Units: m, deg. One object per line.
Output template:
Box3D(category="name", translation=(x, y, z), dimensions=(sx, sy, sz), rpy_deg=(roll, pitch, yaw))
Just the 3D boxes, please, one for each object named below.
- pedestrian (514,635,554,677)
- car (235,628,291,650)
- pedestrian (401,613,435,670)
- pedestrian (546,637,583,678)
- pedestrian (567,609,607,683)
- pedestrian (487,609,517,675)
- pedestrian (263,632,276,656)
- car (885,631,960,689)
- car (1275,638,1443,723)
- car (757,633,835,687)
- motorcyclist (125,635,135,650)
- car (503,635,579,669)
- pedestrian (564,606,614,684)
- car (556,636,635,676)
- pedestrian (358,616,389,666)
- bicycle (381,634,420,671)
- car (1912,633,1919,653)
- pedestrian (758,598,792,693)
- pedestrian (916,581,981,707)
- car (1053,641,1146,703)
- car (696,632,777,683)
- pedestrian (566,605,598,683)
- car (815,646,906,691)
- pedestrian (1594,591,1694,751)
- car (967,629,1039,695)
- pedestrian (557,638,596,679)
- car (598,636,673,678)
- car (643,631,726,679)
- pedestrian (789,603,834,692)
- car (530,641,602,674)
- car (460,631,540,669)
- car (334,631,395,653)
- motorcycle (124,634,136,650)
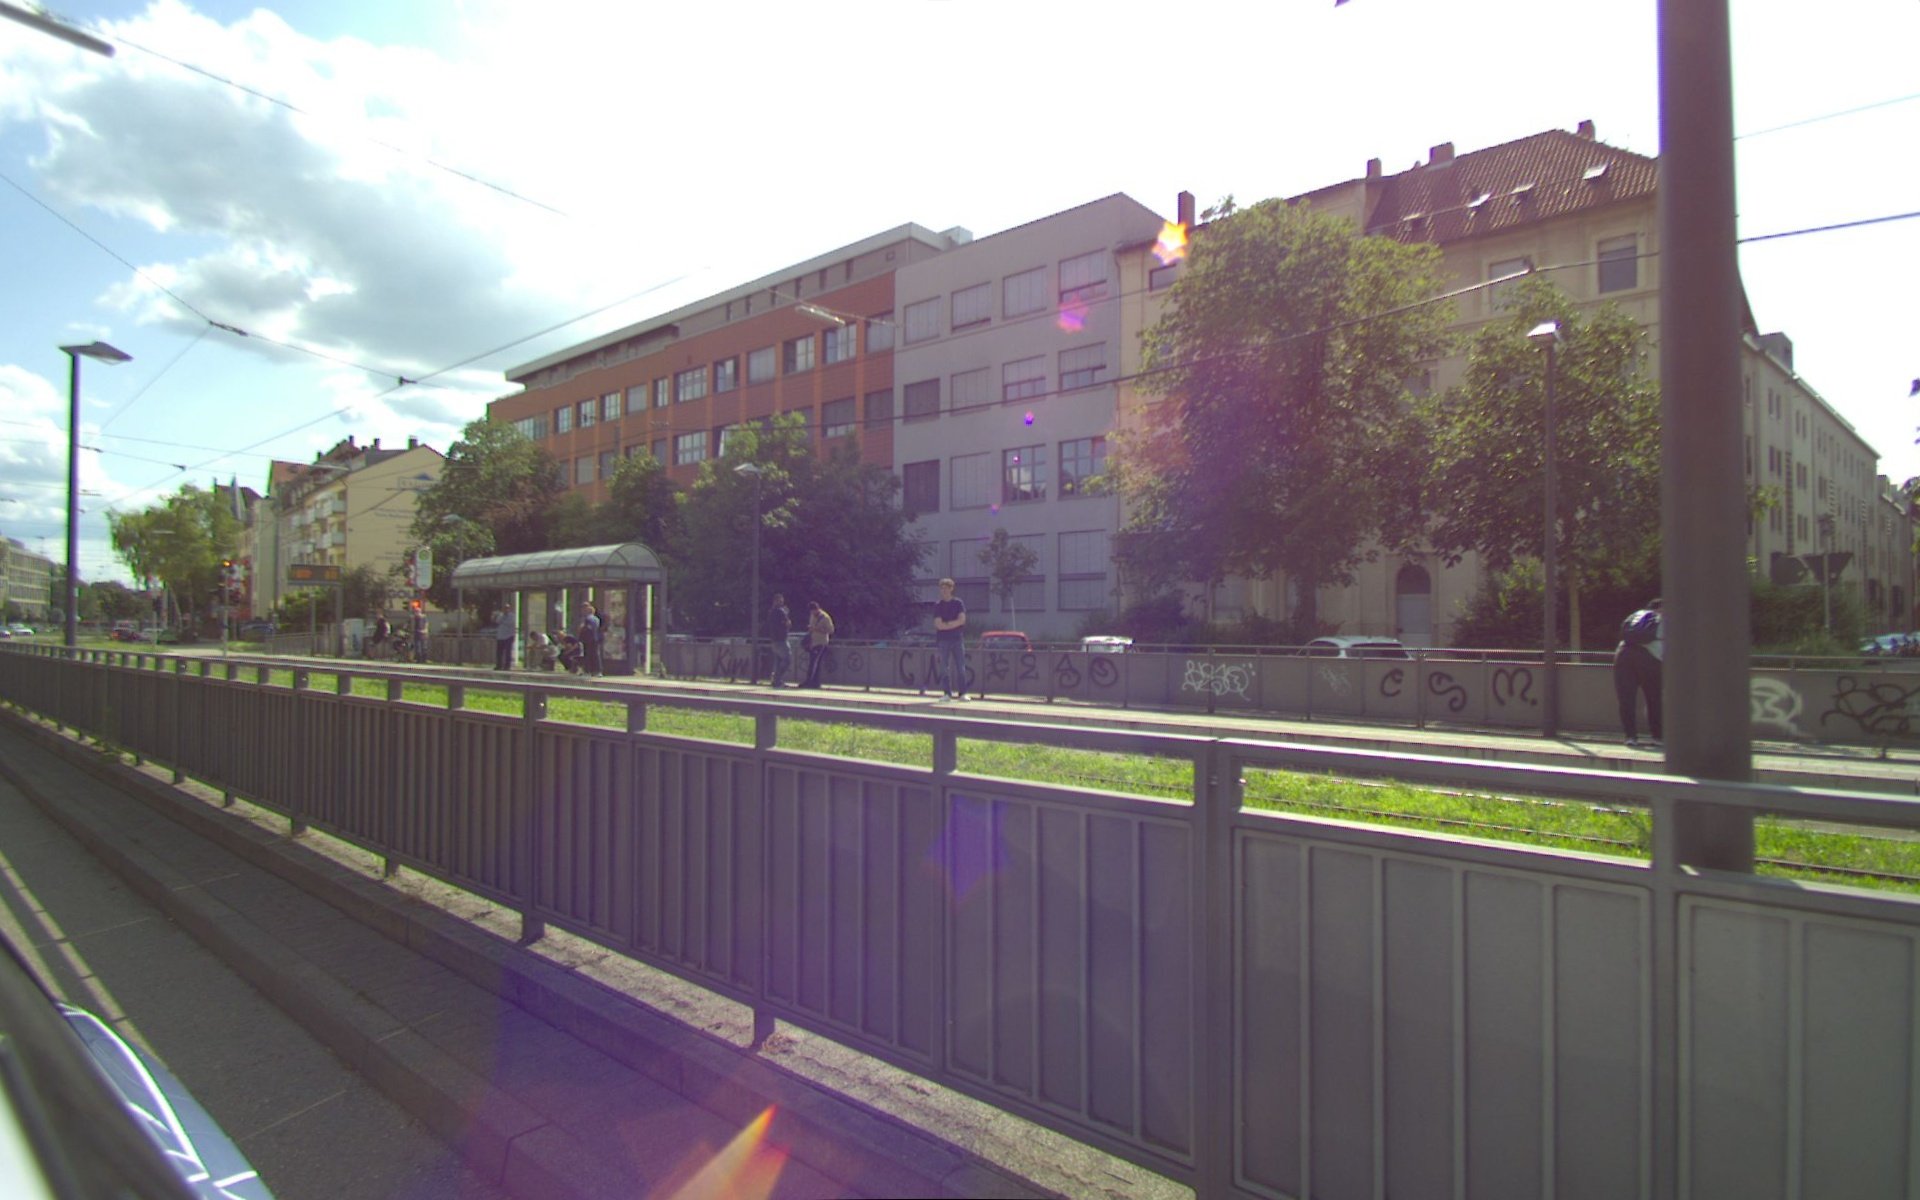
Box3D(category="pedestrian", translation=(-10.997, 1.447, 26.131), dimensions=(0.623, 1.039, 0.712), rpy_deg=(-1, -4, 38))
Box3D(category="car", translation=(-65.868, 3.646, 95.662), dimensions=(4.194, 2.029, 2.003), rpy_deg=(2, -3, -40))
Box3D(category="pedestrian", translation=(-16.982, 1.287, 31.698), dimensions=(0.798, 1.737, 0.632), rpy_deg=(-1, -2, 38))
Box3D(category="pedestrian", translation=(-10.125, 1.471, 25.895), dimensions=(0.562, 1.039, 0.647), rpy_deg=(-1, -4, 38))
Box3D(category="pedestrian", translation=(-8.382, 1.034, 22.749), dimensions=(0.556, 1.645, 0.593), rpy_deg=(-1, -3, 27))
Box3D(category="pedestrian", translation=(-12.188, 1.115, 26.938), dimensions=(0.623, 1.739, 0.481), rpy_deg=(-1, -2, 38))
Box3D(category="pedestrian", translation=(-49.332, 3.127, 72.258), dimensions=(0.481, 1.723, 0.641), rpy_deg=(-2, -3, 42))
Box3D(category="car", translation=(-1.039, 1.711, 29.831), dimensions=(1.590, 1.580, 3.991), rpy_deg=(-1, -2, 7))
Box3D(category="car", translation=(8.242, 1.617, 21.357), dimensions=(1.900, 1.576, 4.152), rpy_deg=(1, -2, 0))
Box3D(category="car", translation=(-5.353, 1.928, 33.563), dimensions=(1.651, 1.540, 3.995), rpy_deg=(-1, 0, 4))
Box3D(category="motorcyclist", translation=(-77.496, 3.988, 94.537), dimensions=(0.693, 1.368, 0.654), rpy_deg=(-1, -1, 43))
Box3D(category="car", translation=(-19.035, 2.337, 46.144), dimensions=(1.630, 1.508, 3.995), rpy_deg=(0, -2, 4))
Box3D(category="pedestrian", translation=(-8.602, 1.038, 23.463), dimensions=(1.035, 1.756, 0.626), rpy_deg=(-1, -3, 39))
Box3D(category="car", translation=(-14.702, 2.220, 40.952), dimensions=(1.568, 1.431, 3.301), rpy_deg=(-1, 0, 11))
Box3D(category="pedestrian", translation=(-20.472, 1.436, 35.319), dimensions=(0.798, 1.712, 0.659), rpy_deg=(-1, -2, 38))
Box3D(category="bicycle", translation=(-17.407, 1.617, 31.461), dimensions=(0.653, 1.122, 1.880), rpy_deg=(4, -4, -40))
Box3D(category="car", translation=(73.594, 3.271, 76.638), dimensions=(3.938, 1.490, 1.826), rpy_deg=(4, -3, -42))
Box3D(category="pedestrian", translation=(-3.514, 0.864, 19.230), dimensions=(0.599, 1.767, 0.626), rpy_deg=(1, -2, -8))
Box3D(category="pedestrian", translation=(-0.172, 0.669, 15.816), dimensions=(0.639, 1.906, 0.742), rpy_deg=(1, -1, 43))
Box3D(category="car", translation=(3.449, 1.764, 25.664), dimensions=(1.791, 1.402, 4.022), rpy_deg=(-1, -2, 1))
Box3D(category="car", translation=(-7.730, 1.954, 35.360), dimensions=(1.651, 1.540, 3.994), rpy_deg=(-1, 0, 5))
Box3D(category="pedestrian", translation=(-9.079, 1.041, 24.315), dimensions=(0.623, 1.841, 0.438), rpy_deg=(-1, -3, 39))
Box3D(category="car", translation=(-3.091, 2.133, 32.181), dimensions=(1.774, 1.159, 3.985), rpy_deg=(-1, 0, 12))
Box3D(category="pedestrian", translation=(7.228, 0.721, 10.682), dimensions=(0.798, 1.590, 0.979), rpy_deg=(-1, -2, 38))
Box3D(category="car", translation=(1.157, 1.662, 27.947), dimensions=(1.810, 1.652, 4.134), rpy_deg=(1, -2, 2))
Box3D(category="pedestrian", translation=(-9.630, 1.472, 25.422), dimensions=(0.562, 1.002, 0.697), rpy_deg=(-1, -4, 38))
Box3D(category="car", translation=(-12.335, 2.143, 38.639), dimensions=(1.652, 1.420, 3.063), rpy_deg=(1, 0, 5))
Box3D(category="car", translation=(-10.205, 2.011, 37.752), dimensions=(1.652, 1.652, 3.993), rpy_deg=(1, -2, 5))
Box3D(category="pedestrian", translation=(-2.886, 0.916, 19.673), dimensions=(0.625, 1.687, 0.600), rpy_deg=(-1, -2, 41))
Box3D(category="car", translation=(-16.782, 2.433, 43.240), dimensions=(1.584, 1.314, 3.246), rpy_deg=(0, -2, 6))
Box3D(category="car", translation=(-21.248, 2.280, 46.939), dimensions=(1.850, 1.671, 3.840), rpy_deg=(0, -2, 2))
Box3D(category="car", translation=(-43.612, 3.109, 74.096), dimensions=(3.557, 1.491, 1.777), rpy_deg=(2, -6, -42))
Box3D(category="motorcycle", translation=(-77.636, 3.957, 94.706), dimensions=(2.010, 1.414, 0.626), rpy_deg=(-1, -1, 44))
